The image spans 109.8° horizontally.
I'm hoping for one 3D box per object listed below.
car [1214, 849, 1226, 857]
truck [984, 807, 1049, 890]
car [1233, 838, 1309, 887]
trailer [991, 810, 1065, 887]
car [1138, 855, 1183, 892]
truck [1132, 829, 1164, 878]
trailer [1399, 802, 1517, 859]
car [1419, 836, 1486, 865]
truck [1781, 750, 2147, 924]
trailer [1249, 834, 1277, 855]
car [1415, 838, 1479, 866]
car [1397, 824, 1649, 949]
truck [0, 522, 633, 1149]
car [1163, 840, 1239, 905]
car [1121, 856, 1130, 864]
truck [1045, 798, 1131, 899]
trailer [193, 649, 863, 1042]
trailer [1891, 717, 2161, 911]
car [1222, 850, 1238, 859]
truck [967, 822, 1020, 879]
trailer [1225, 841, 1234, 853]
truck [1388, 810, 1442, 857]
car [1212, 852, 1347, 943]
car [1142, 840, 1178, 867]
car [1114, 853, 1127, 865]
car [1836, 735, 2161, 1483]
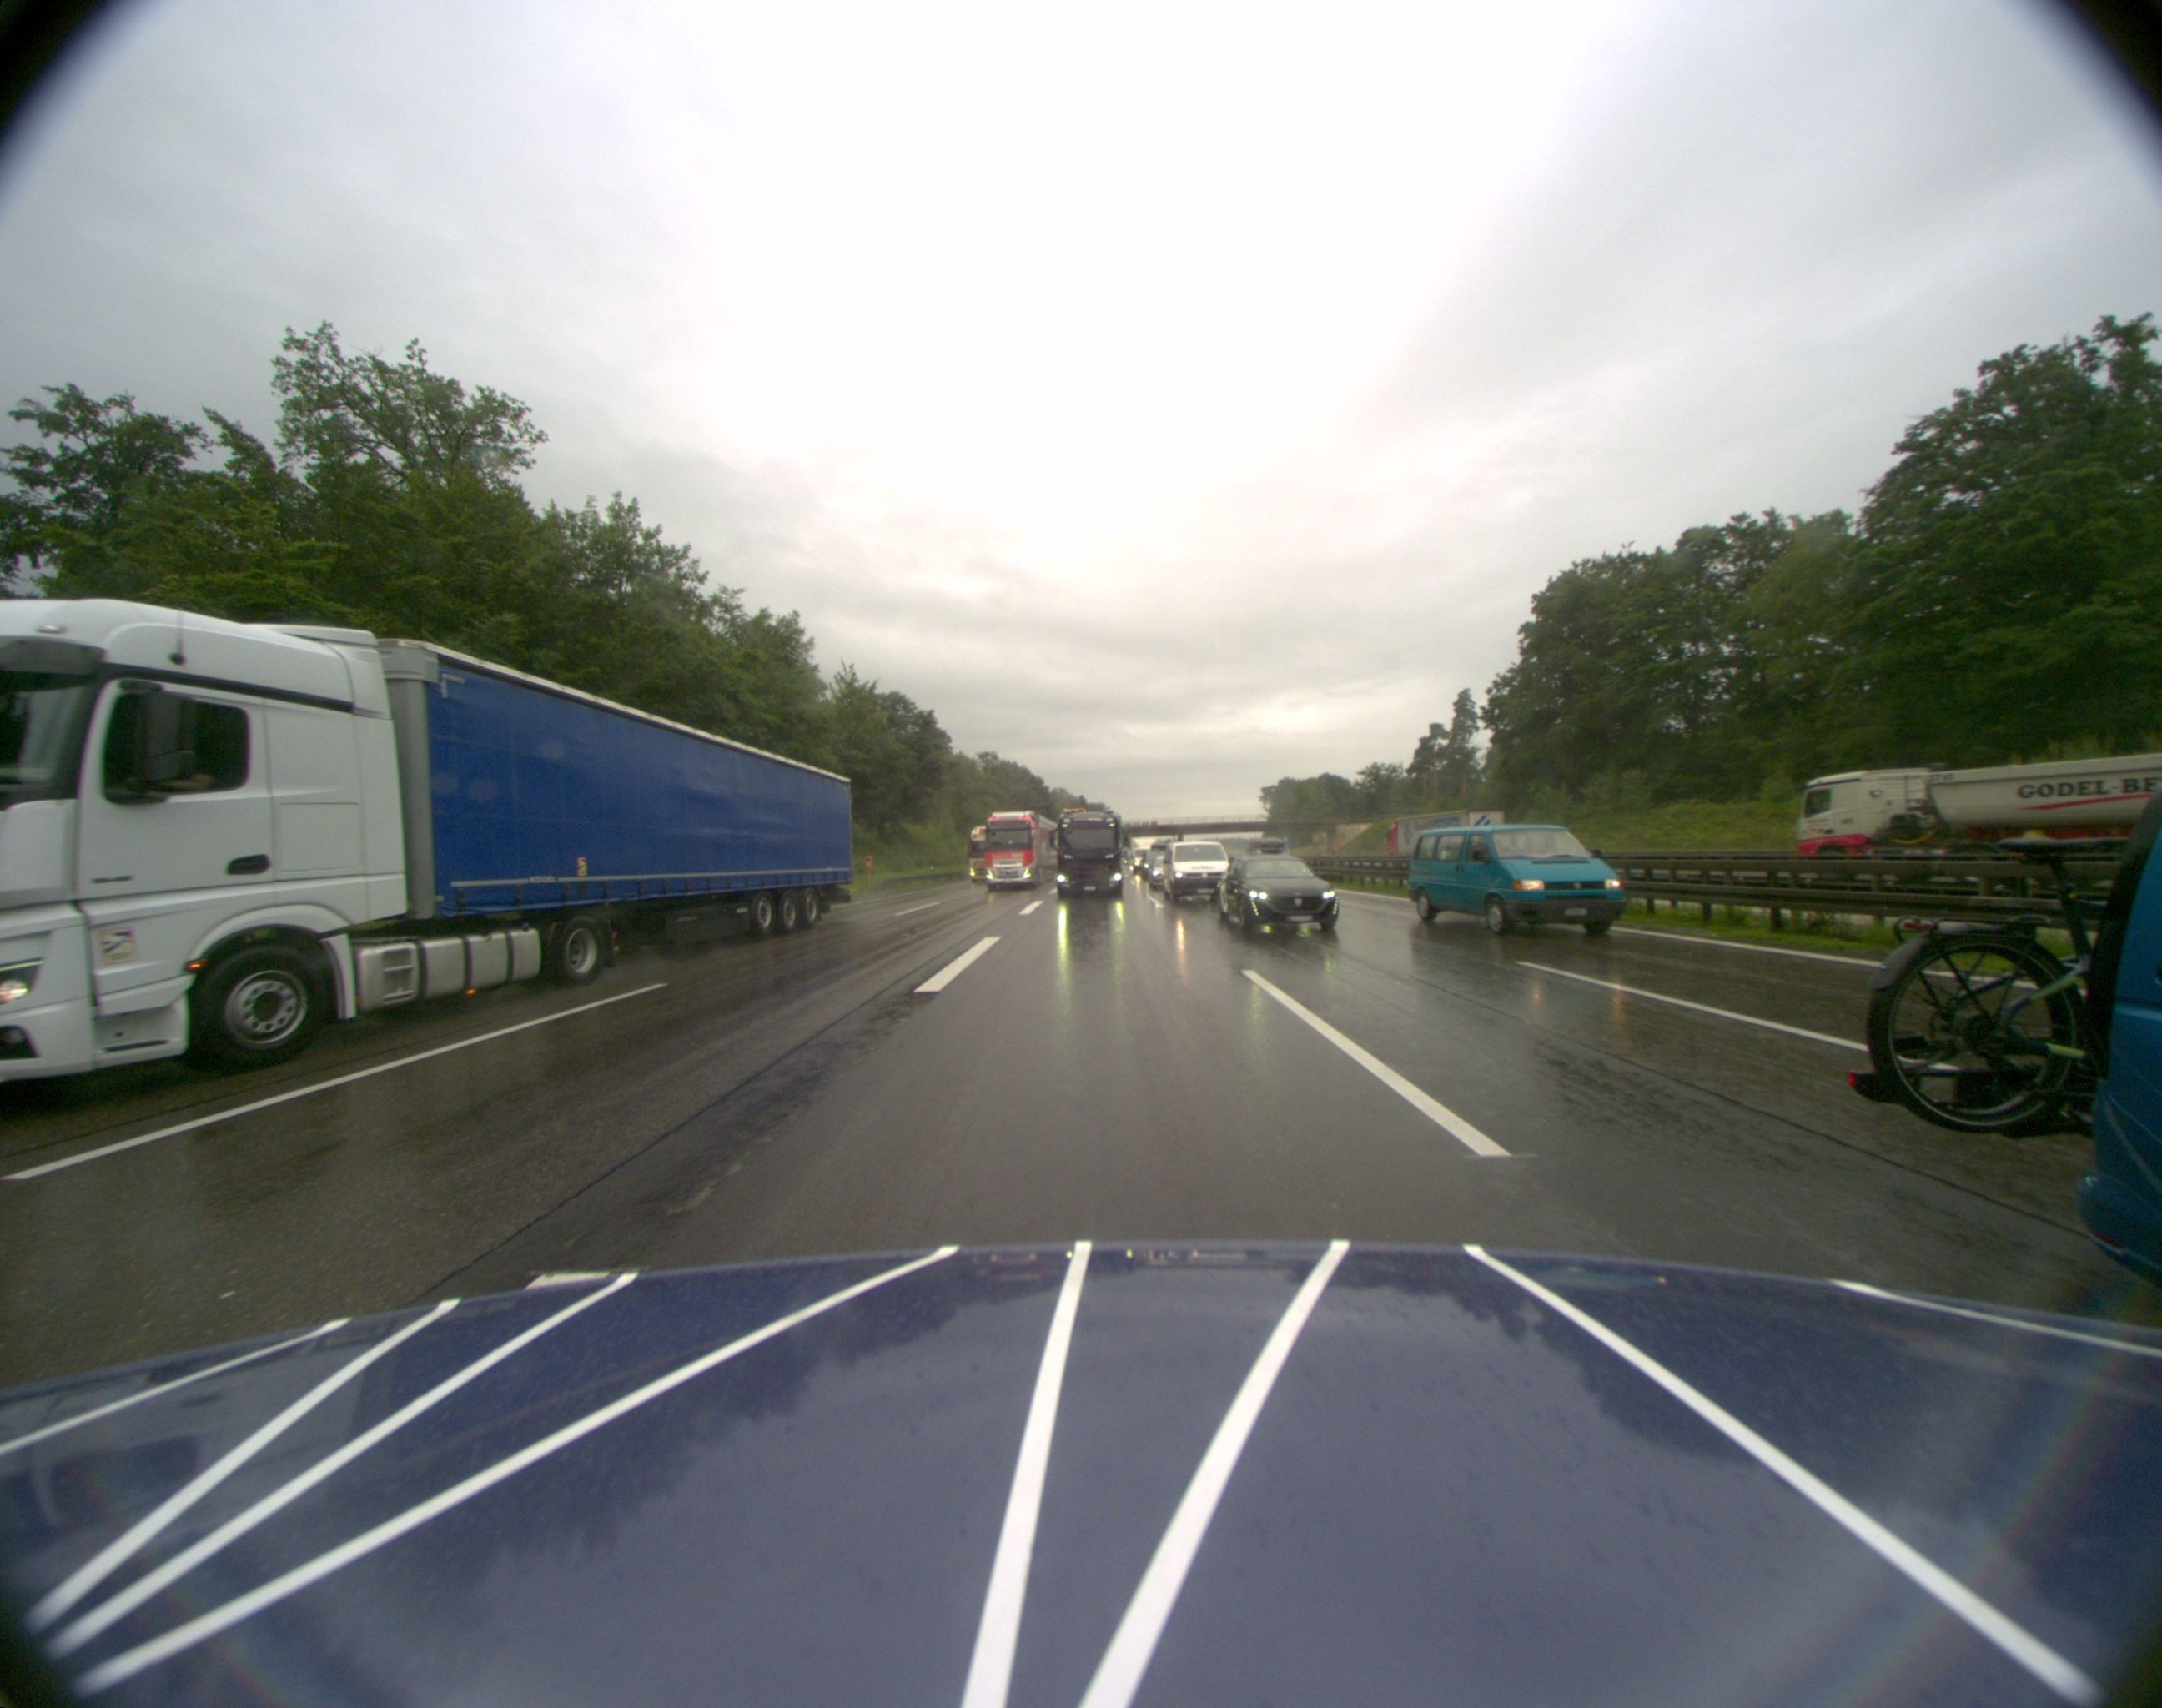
[{"bbox_3d":[27.947,-0.146,153.186,1.997,1.498,4.709,-1,0,6],"label":"car"},{"bbox_3d":[-3.253,-0.302,39.771,2.608,3.934,5.600,-2,1,2],"label":"truck"},{"bbox_3d":[7.765,0.325,31.523,1.982,1.814,4.606,-2,0,0],"label":"car"},{"bbox_3d":[-2.913,-0.343,46.587,2.607,3.934,14.583,-2,0,3],"label":"trailer"},{"bbox_3d":[3.591,0.853,34.961,1.850,1.496,4.467,-2,0,4],"label":"car"},{"bbox_3d":[5.795,-0.043,66.583,2.520,3.941,6.996,-2,0,3],"label":"truck"},{"bbox_3d":[28.848,-1.654,59.222,2.726,3.931,13.961,0,0,2],"label":"trailer"},{"bbox_3d":[24.964,-0.257,51.308,1.982,1.814,5.222,-2,0,0],"label":"car"},{"bbox_3d":[23.132,-0.399,20.587,2.383,3.931,6.536,-1,1,1],"label":"truck"},{"bbox_3d":[34.975,-1.789,146.462,3.031,3.795,13.564,-2,0,4],"label":"trailer"},{"bbox_3d":[24.699,-0.143,51.465,1.998,1.759,5.039,-1,0,1],"label":"car"},{"bbox_3d":[7.782,0.491,14.049,1.915,1.852,4.759,-2,0,1],"label":"car"},{"bbox_3d":[-7.945,-0.077,7.856,2.607,3.990,6.013,-3,1,3],"label":"truck"},{"bbox_3d":[3.835,0.550,25.111,1.994,1.869,4.768,-2,0,4],"label":"car"},{"bbox_3d":[9.762,1.234,166.905,1.864,1.554,4.436,-2,0,2],"label":"car"},{"bbox_3d":[0.595,-0.248,32.708,2.879,3.528,10.913,-2,1,4],"label":"truck"},{"bbox_3d":[-7.713,-0.125,14.755,2.560,3.990,13.714,-2,0,1],"label":"trailer"},{"bbox_3d":[23.056,-0.834,15.847,2.383,3.931,9.422,-1,0,1],"label":"trailer"},{"bbox_3d":[25.720,0.074,131.119,1.998,1.498,4.708,-1,0,3],"label":"car"},{"bbox_3d":[-6.589,-0.315,58.653,2.608,3.934,9.939,-2,0,1],"label":"truck"},{"bbox_3d":[47.814,-2.362,245.162,2.687,3.795,9.013,-2,0,10],"label":"trailer"},{"bbox_3d":[29.064,-1.703,66.311,2.710,3.931,4.891,0,1,2],"label":"truck"},{"bbox_3d":[3.923,0.783,15.811,1.850,1.496,4.467,-3,1,4],"label":"car"},{"bbox_3d":[5.040,-0.020,48.993,1.994,1.551,4.768,-2,0,3],"label":"car"},{"bbox_3d":[6.752,0.866,130.533,1.998,2.002,4.000,-2,0,2],"label":"car"},{"bbox_3d":[3.806,0.612,0.204,2.275,1.900,5.016,-2,0,2],"label":"car"}]
